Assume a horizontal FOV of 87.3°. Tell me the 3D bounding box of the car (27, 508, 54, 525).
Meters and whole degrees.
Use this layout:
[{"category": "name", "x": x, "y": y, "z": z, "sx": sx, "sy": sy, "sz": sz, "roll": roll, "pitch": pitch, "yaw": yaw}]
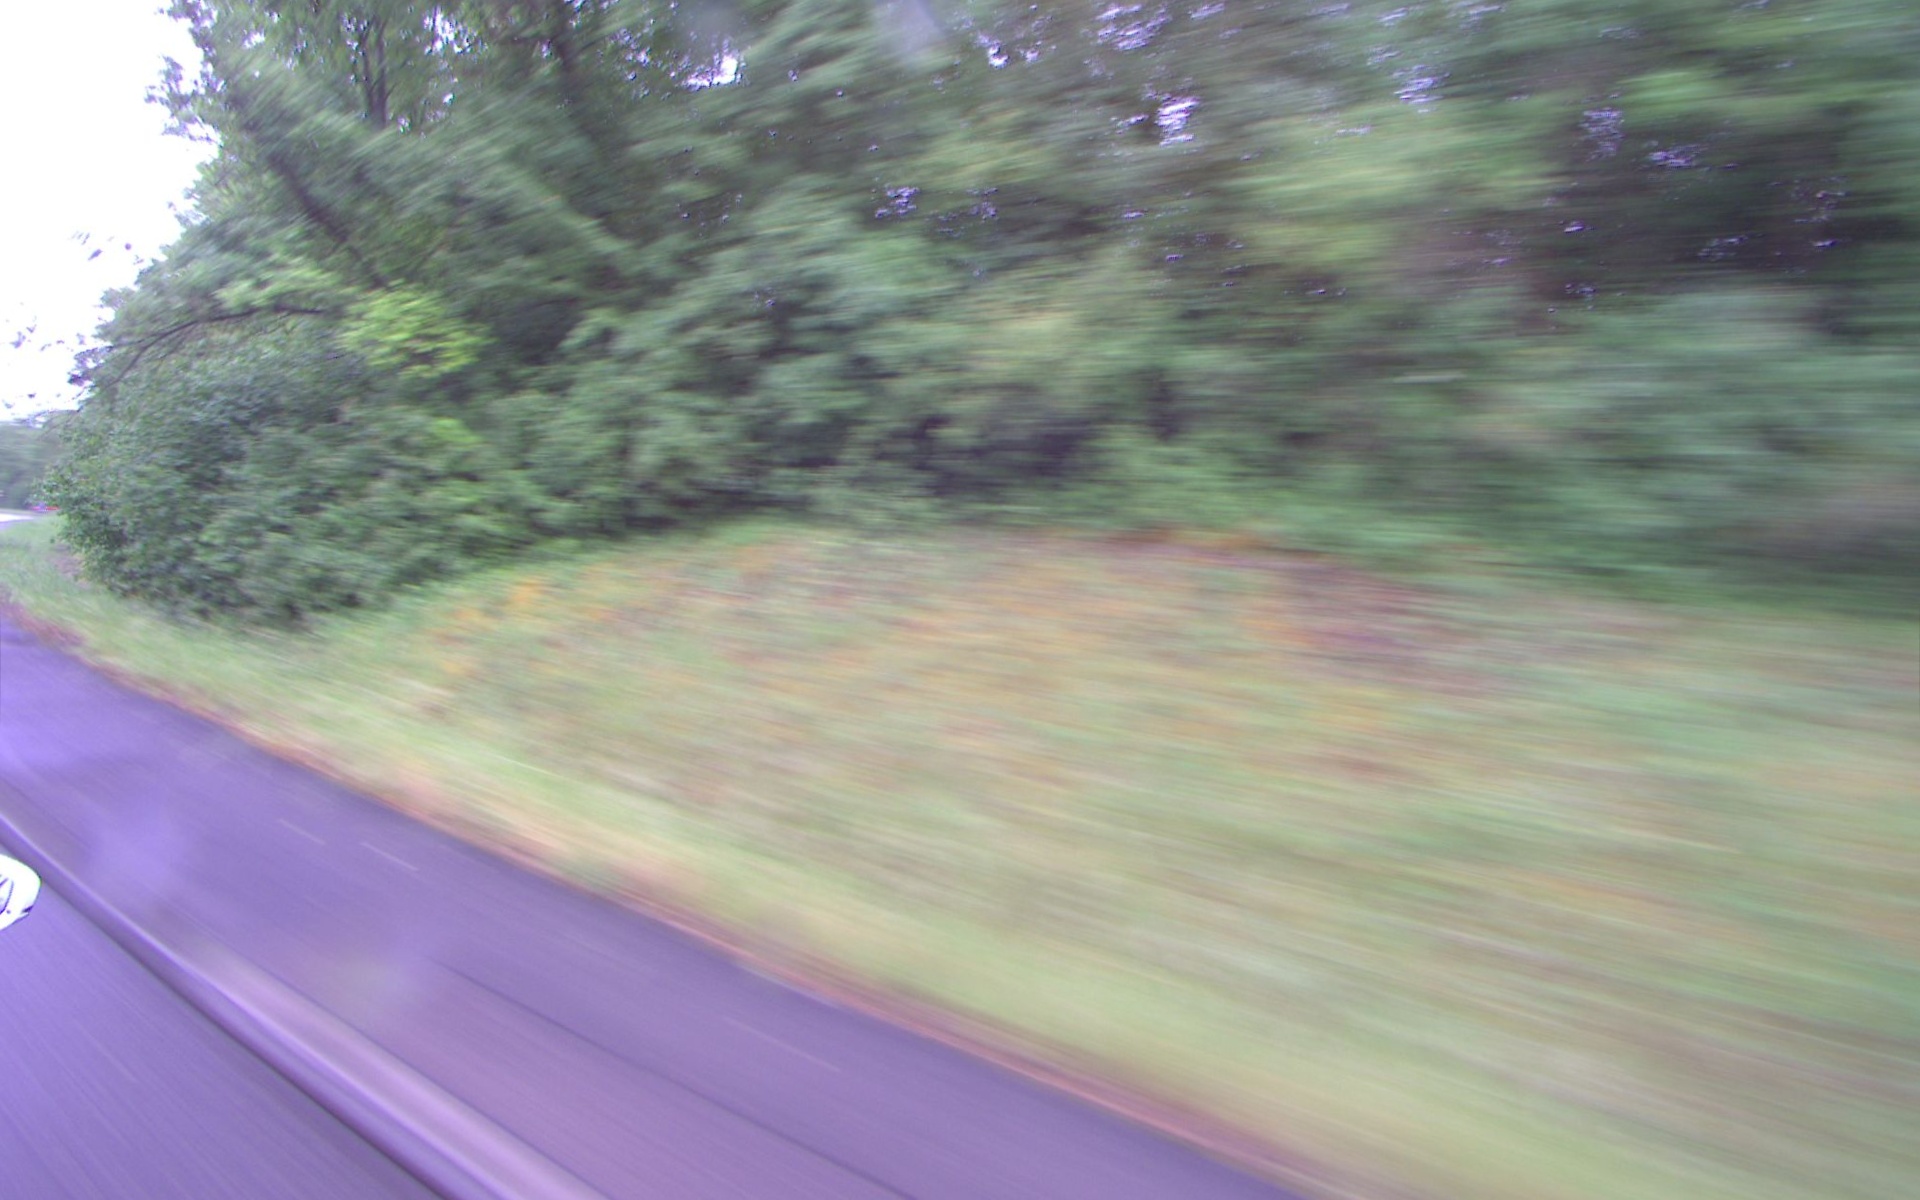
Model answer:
[{"category": "car", "x": -106.438, "y": -9.660, "z": 116.398, "sx": 3.947, "sy": 1.614, "sz": 1.865, "roll": 5, "pitch": -3, "yaw": 43}]
